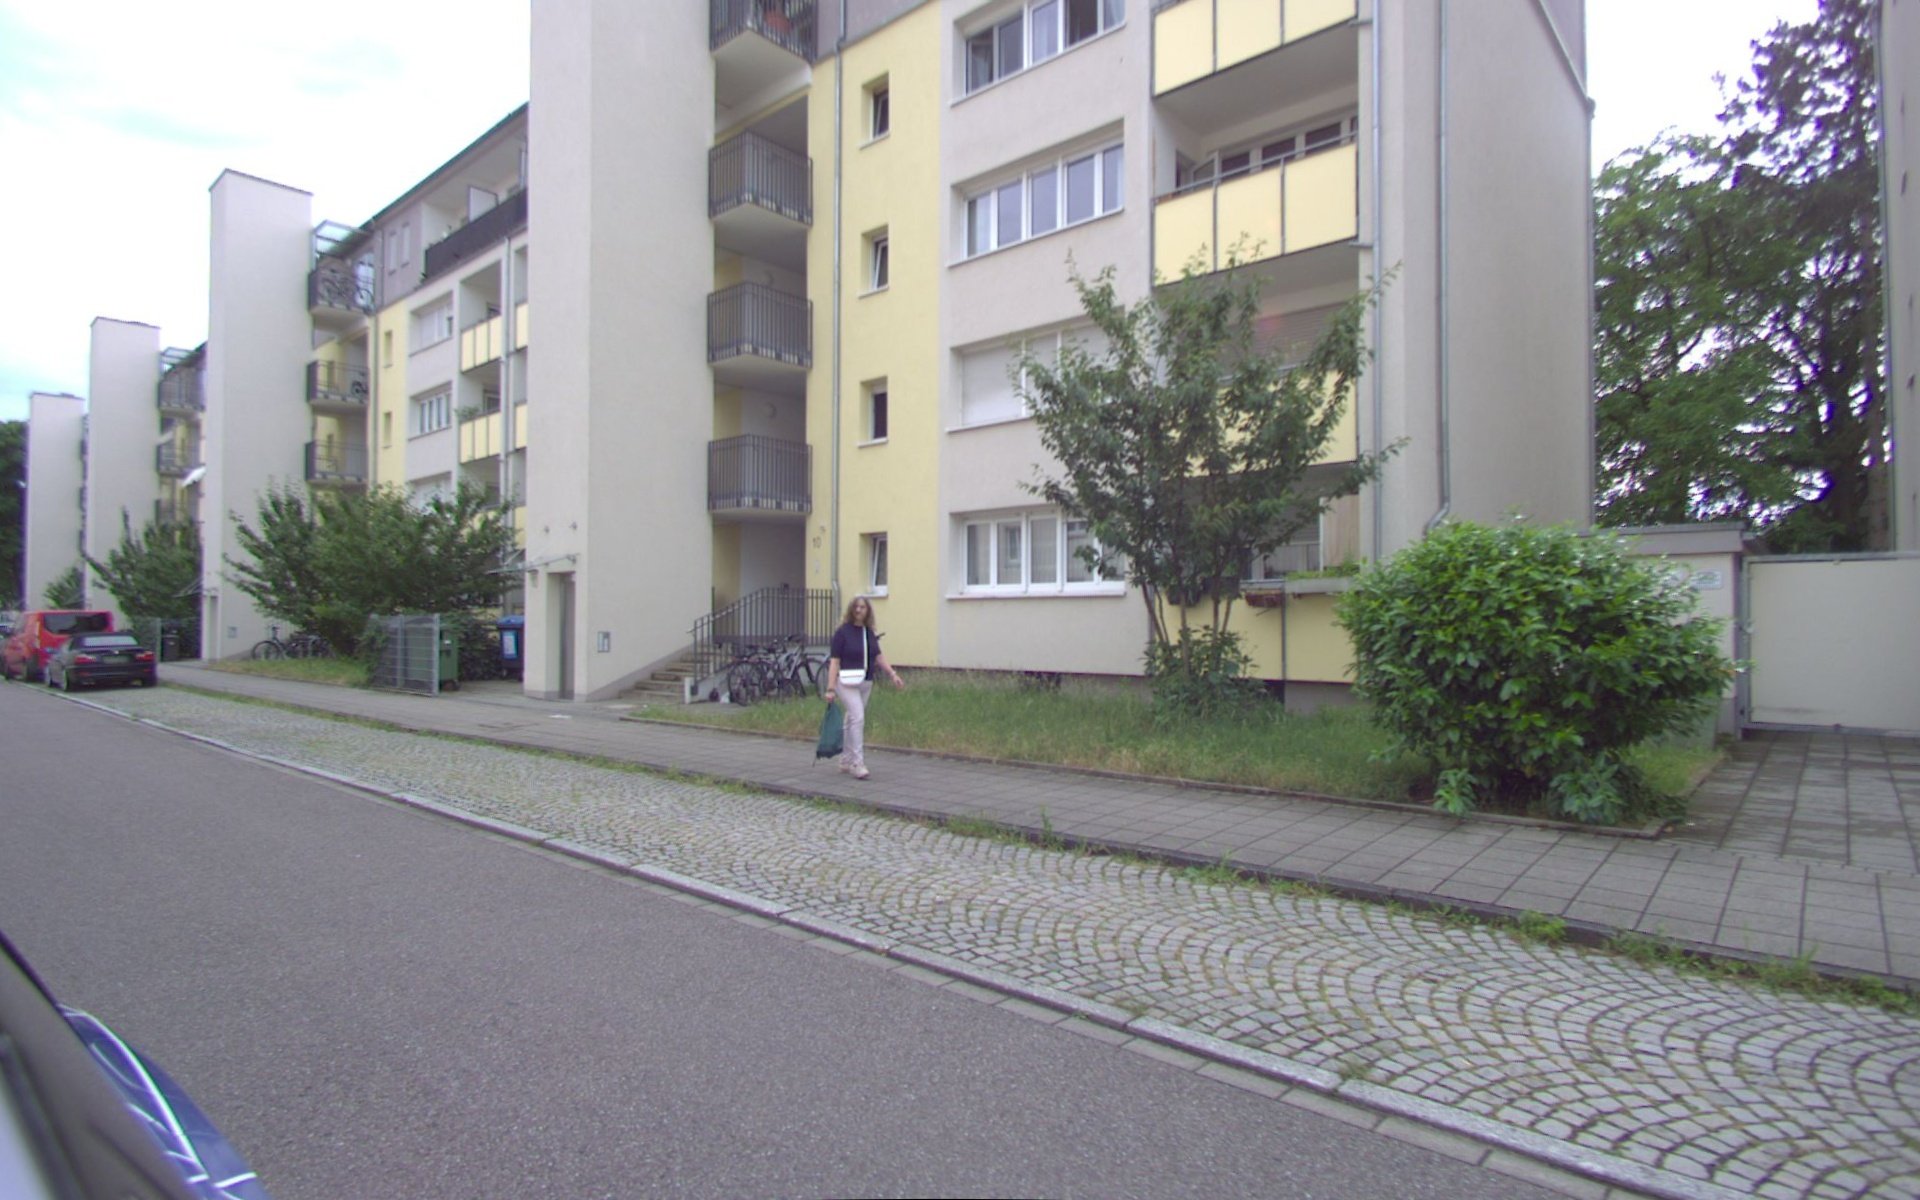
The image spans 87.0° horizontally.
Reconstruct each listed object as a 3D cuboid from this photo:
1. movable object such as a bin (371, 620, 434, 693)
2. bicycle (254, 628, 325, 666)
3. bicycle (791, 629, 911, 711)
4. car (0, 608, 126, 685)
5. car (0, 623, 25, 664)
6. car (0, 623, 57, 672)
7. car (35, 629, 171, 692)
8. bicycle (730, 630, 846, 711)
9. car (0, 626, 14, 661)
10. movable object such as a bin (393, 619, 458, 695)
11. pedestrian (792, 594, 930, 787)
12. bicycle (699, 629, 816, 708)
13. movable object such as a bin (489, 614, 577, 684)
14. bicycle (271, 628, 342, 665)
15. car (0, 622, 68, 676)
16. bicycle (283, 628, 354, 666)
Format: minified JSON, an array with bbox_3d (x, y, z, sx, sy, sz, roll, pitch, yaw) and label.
[{"bbox_3d":[-11.484,1.141,20.850,1.288,1.440,0.794,-1,-1,44],"label":"movable object such as a bin"},{"bbox_3d":[-21.443,1.481,32.381,0.604,1.127,1.816,-1,-1,40],"label":"bicycle"},{"bbox_3d":[-1.632,1.031,15.493,0.622,1.150,2.003,-1,-2,38],"label":"bicycle"},{"bbox_3d":[-25.643,1.255,28.727,4.917,1.968,2.130,-1,0,39],"label":"car"},{"bbox_3d":[-37.829,1.685,39.551,3.896,1.542,1.635,-1,0,44],"label":"car"},{"bbox_3d":[-33.577,1.627,35.704,4.857,1.582,1.816,-1,0,39],"label":"car"},{"bbox_3d":[-21.000,1.411,24.748,4.359,1.333,1.851,-1,0,40],"label":"car"},{"bbox_3d":[-2.626,1.046,15.683,0.621,1.150,2.007,-1,-1,31],"label":"bicycle"},{"bbox_3d":[-41.916,1.865,43.387,3.855,1.449,1.626,-1,0,42],"label":"car"},{"bbox_3d":[-10.522,1.094,19.907,0.794,1.440,1.289,0,-1,-45],"label":"movable object such as a bin"},{"bbox_3d":[-0.892,0.769,9.134,0.945,1.622,0.792,-1,-1,37],"label":"pedestrian"},{"bbox_3d":[-3.170,1.045,16.007,0.621,1.150,2.007,-1,-1,32],"label":"bicycle"},{"bbox_3d":[-9.588,1.069,22.730,1.371,1.475,1.338,-1,-1,40],"label":"movable object such as a bin"},{"bbox_3d":[-20.746,1.458,32.156,0.570,1.127,1.814,-2,-2,43],"label":"bicycle"},{"bbox_3d":[-29.903,1.526,32.280,4.052,1.582,1.702,-1,0,42],"label":"car"},{"bbox_3d":[-19.984,1.443,31.547,1.812,1.127,0.571,1,-2,-42],"label":"bicycle"}]
